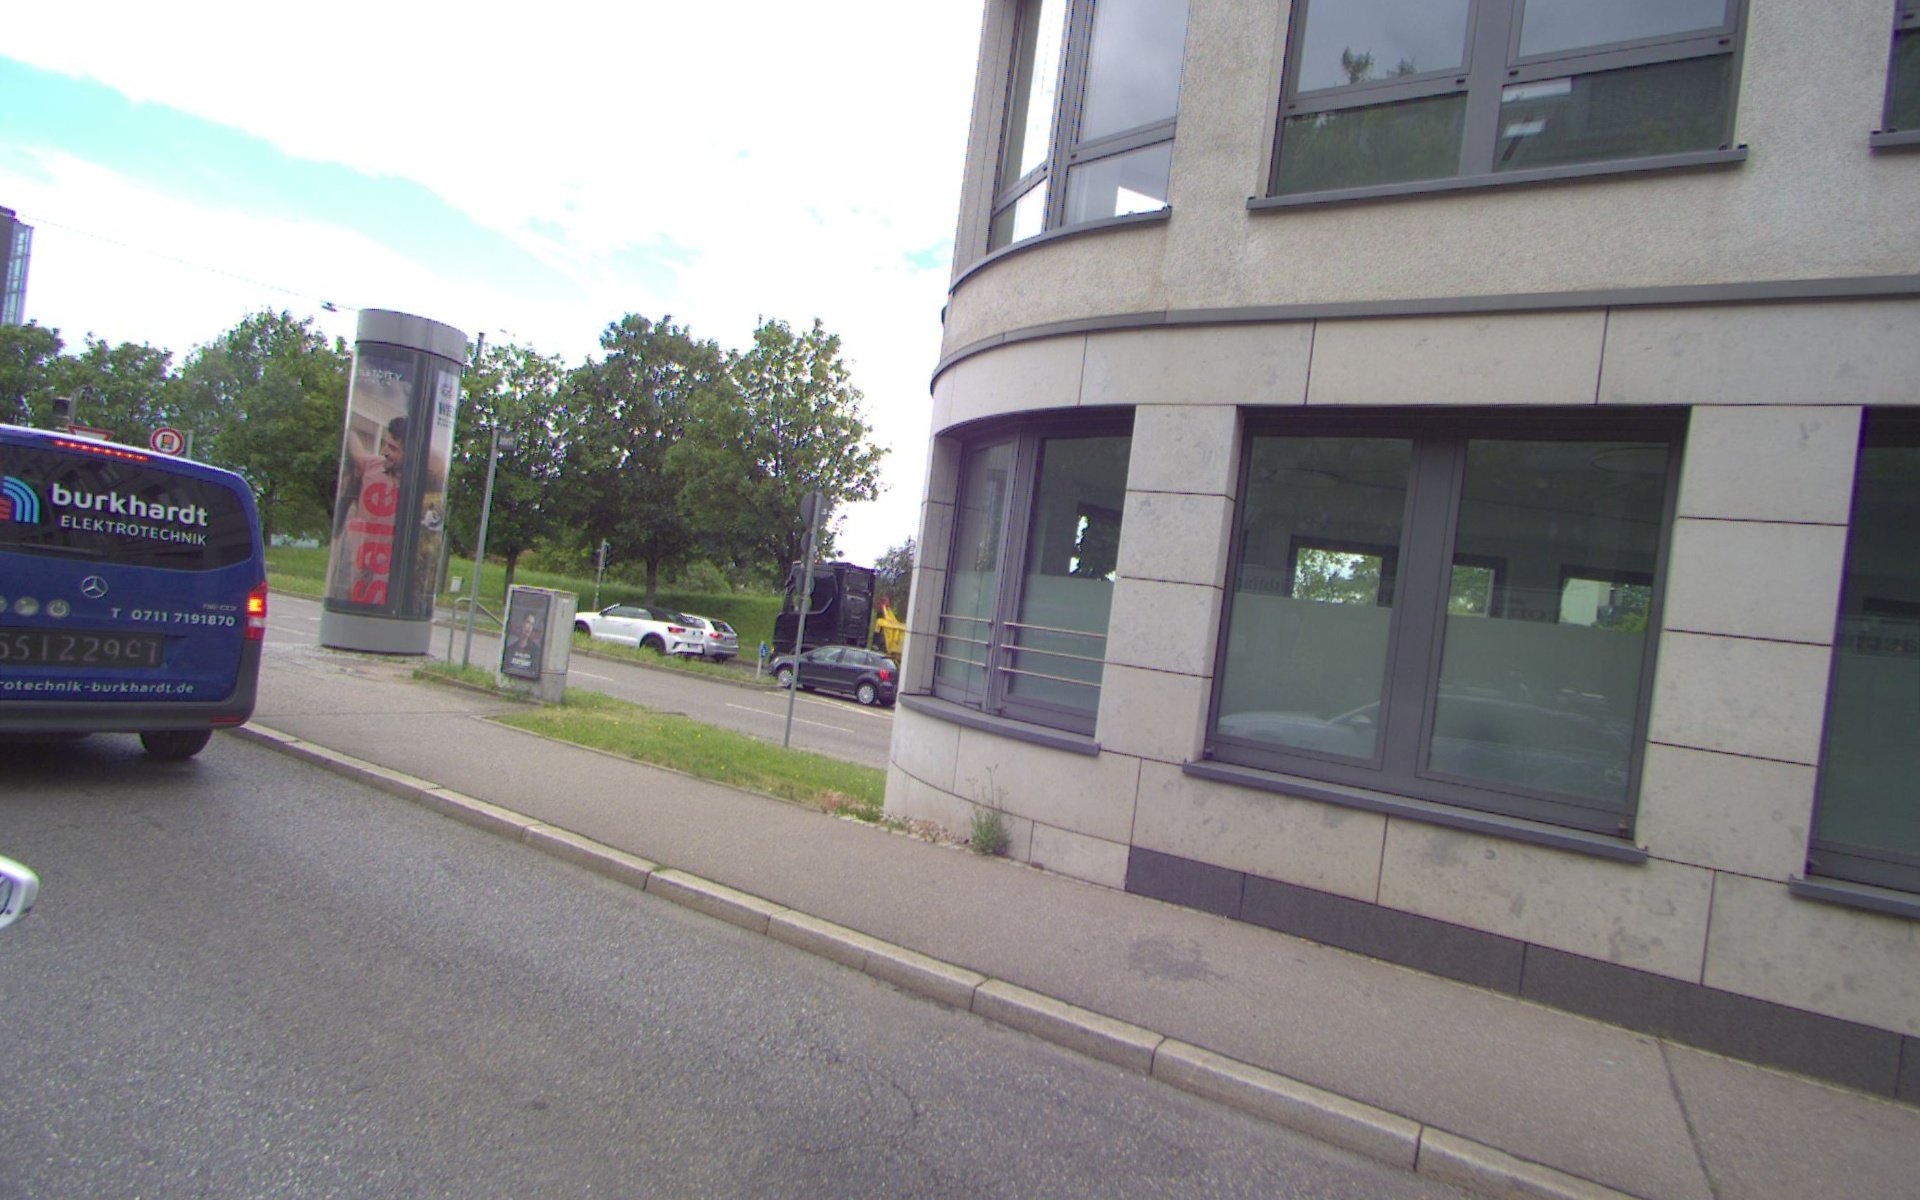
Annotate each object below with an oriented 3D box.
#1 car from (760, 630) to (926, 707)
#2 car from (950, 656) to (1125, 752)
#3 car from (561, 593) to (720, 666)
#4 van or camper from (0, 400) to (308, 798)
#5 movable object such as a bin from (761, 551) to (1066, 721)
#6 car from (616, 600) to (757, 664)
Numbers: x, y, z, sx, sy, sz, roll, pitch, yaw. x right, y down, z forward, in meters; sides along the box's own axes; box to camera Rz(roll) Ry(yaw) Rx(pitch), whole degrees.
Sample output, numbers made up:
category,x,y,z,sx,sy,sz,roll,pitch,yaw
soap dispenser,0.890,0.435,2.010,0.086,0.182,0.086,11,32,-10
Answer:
category,x,y,z,sx,sy,sz,roll,pitch,yaw
car,-3.203,1.907,27.741,3.925,1.469,2.003,8,-3,19
car,2.013,2.626,25.720,3.925,1.723,2.003,8,-3,19
car,-9.502,0.889,29.982,3.925,1.469,2.003,8,-3,19
van or camper,-6.563,-0.206,6.512,4.949,1.934,1.862,7,-1,32
movable object such as a bin,-1.402,1.048,30.571,8.410,3.949,2.870,7,-1,18
car,-9.109,1.077,33.610,3.925,1.469,2.003,8,-3,19
